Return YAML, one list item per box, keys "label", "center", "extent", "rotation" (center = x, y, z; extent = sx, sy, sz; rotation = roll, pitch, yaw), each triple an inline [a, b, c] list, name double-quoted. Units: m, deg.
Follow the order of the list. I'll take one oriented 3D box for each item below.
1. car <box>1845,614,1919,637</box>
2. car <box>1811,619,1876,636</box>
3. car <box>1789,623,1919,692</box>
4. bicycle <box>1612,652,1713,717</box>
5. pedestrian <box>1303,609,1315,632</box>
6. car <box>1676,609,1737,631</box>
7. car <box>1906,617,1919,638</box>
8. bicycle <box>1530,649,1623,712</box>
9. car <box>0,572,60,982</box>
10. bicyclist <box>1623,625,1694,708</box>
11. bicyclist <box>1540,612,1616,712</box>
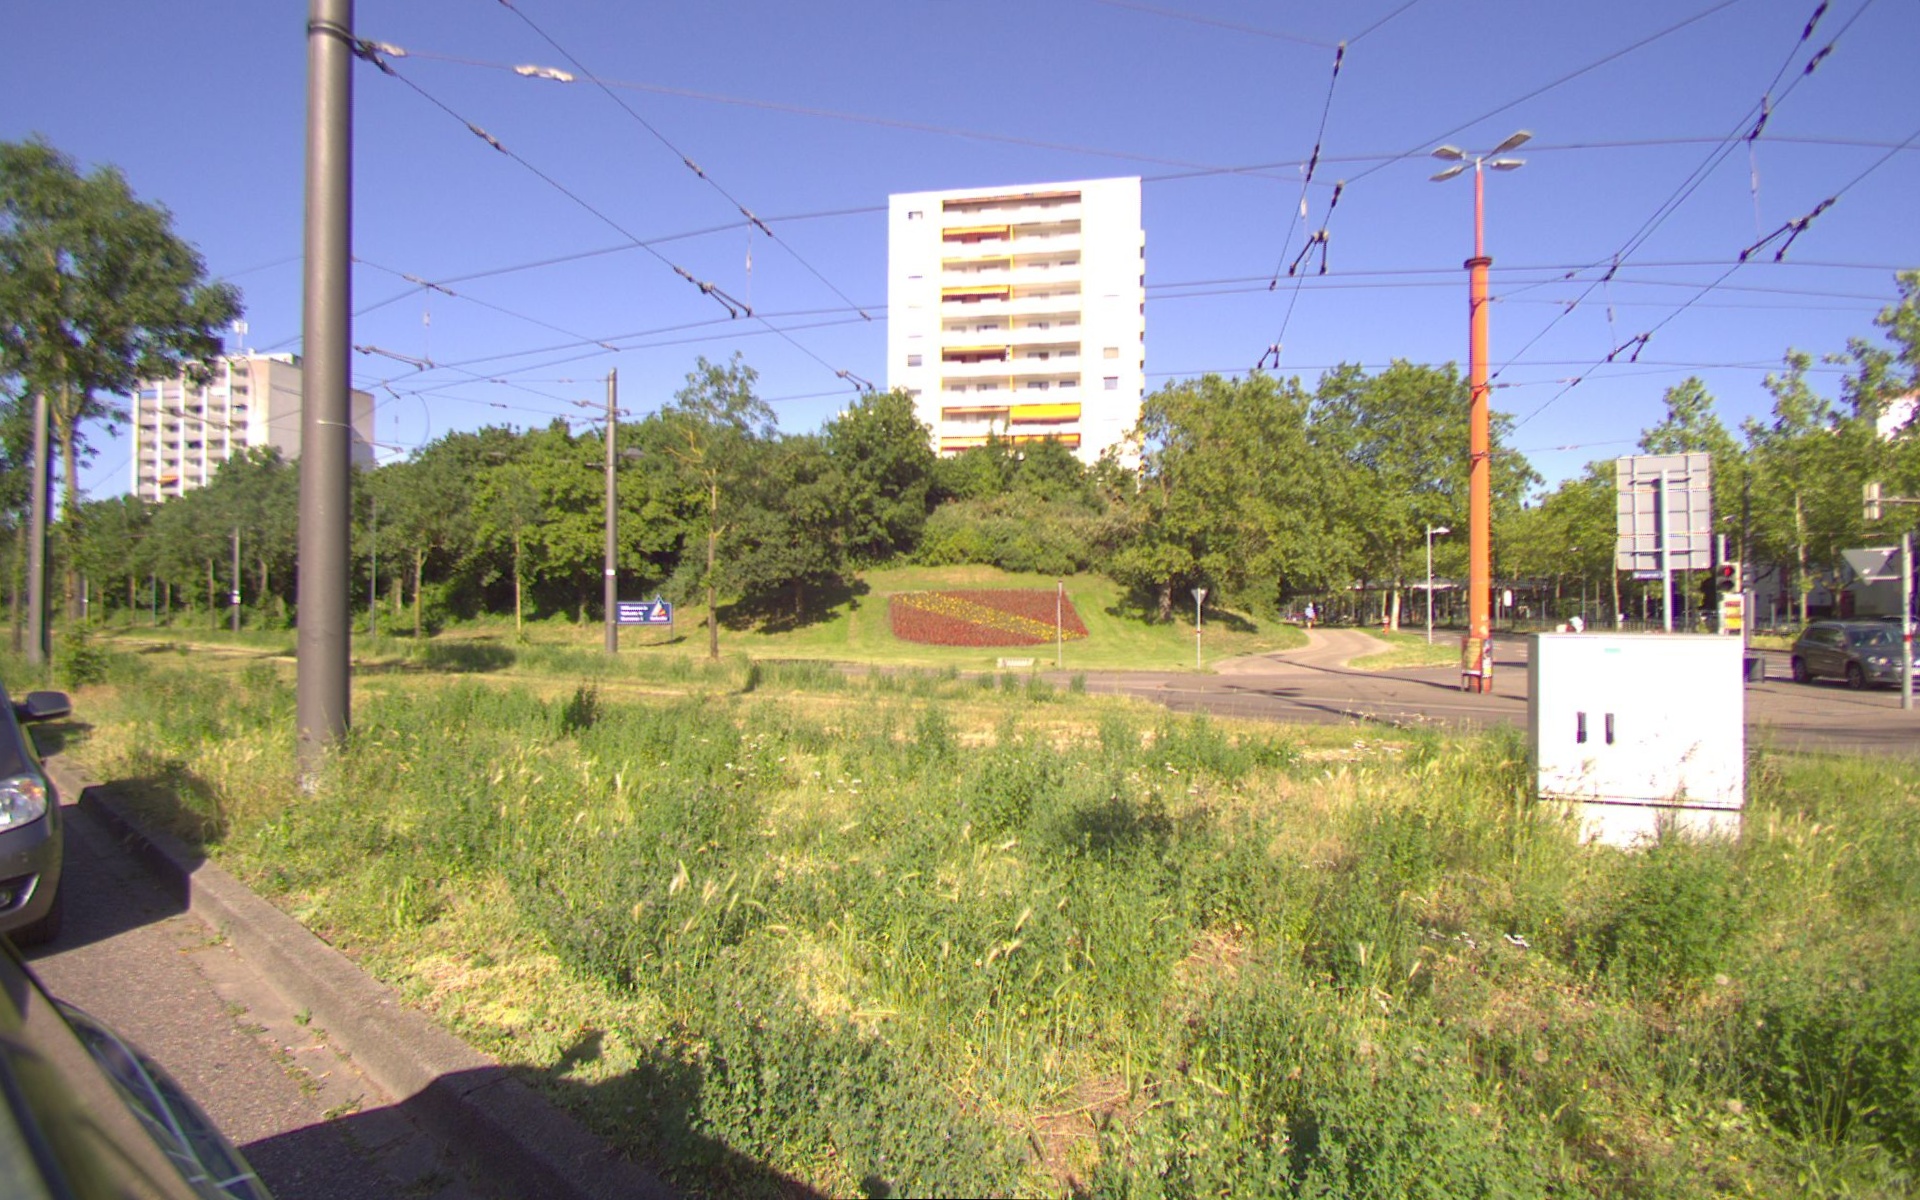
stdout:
- label: "car"
  center: [63.811, 1.750, 69.984]
  extent: [1.589, 1.471, 3.656]
  rotation: [-1, 0, -38]
- label: "car"
  center: [64.415, 1.996, 73.835]
  extent: [1.425, 1.197, 3.423]
  rotation: [-1, 0, -41]
- label: "car"
  center: [23.049, 1.378, 25.409]
  extent: [1.900, 1.507, 4.026]
  rotation: [-1, 0, 15]
- label: "bicycle"
  center: [13.510, 1.599, 19.529]
  extent: [0.571, 1.079, 1.916]
  rotation: [-1, 0, 0]
- label: "pedestrian"
  center: [24.444, 1.424, 70.852]
  extent: [0.682, 1.568, 0.983]
  rotation: [-1, 0, 23]
- label: "car"
  center: [72.154, 1.948, 97.860]
  extent: [1.909, 1.999, 4.350]
  rotation: [1, -2, -38]
- label: "car"
  center: [63.696, 1.784, 65.152]
  extent: [1.472, 1.341, 3.746]
  rotation: [-1, 0, -27]
- label: "bicycle"
  center: [12.075, 1.551, 19.882]
  extent: [0.571, 1.079, 1.917]
  rotation: [-1, 0, -2]
- label: "car"
  center: [-5.819, 0.754, 4.883]
  extent: [3.998, 1.652, 1.726]
  rotation: [-1, 0, 41]
- label: "bicyclist"
  center: [13.498, 1.268, 19.579]
  extent: [0.710, 1.536, 0.924]
  rotation: [-1, 0, 0]
- label: "bicyclist"
  center: [12.121, 1.195, 19.864]
  extent: [0.880, 1.881, 0.924]
  rotation: [-1, 0, -2]
